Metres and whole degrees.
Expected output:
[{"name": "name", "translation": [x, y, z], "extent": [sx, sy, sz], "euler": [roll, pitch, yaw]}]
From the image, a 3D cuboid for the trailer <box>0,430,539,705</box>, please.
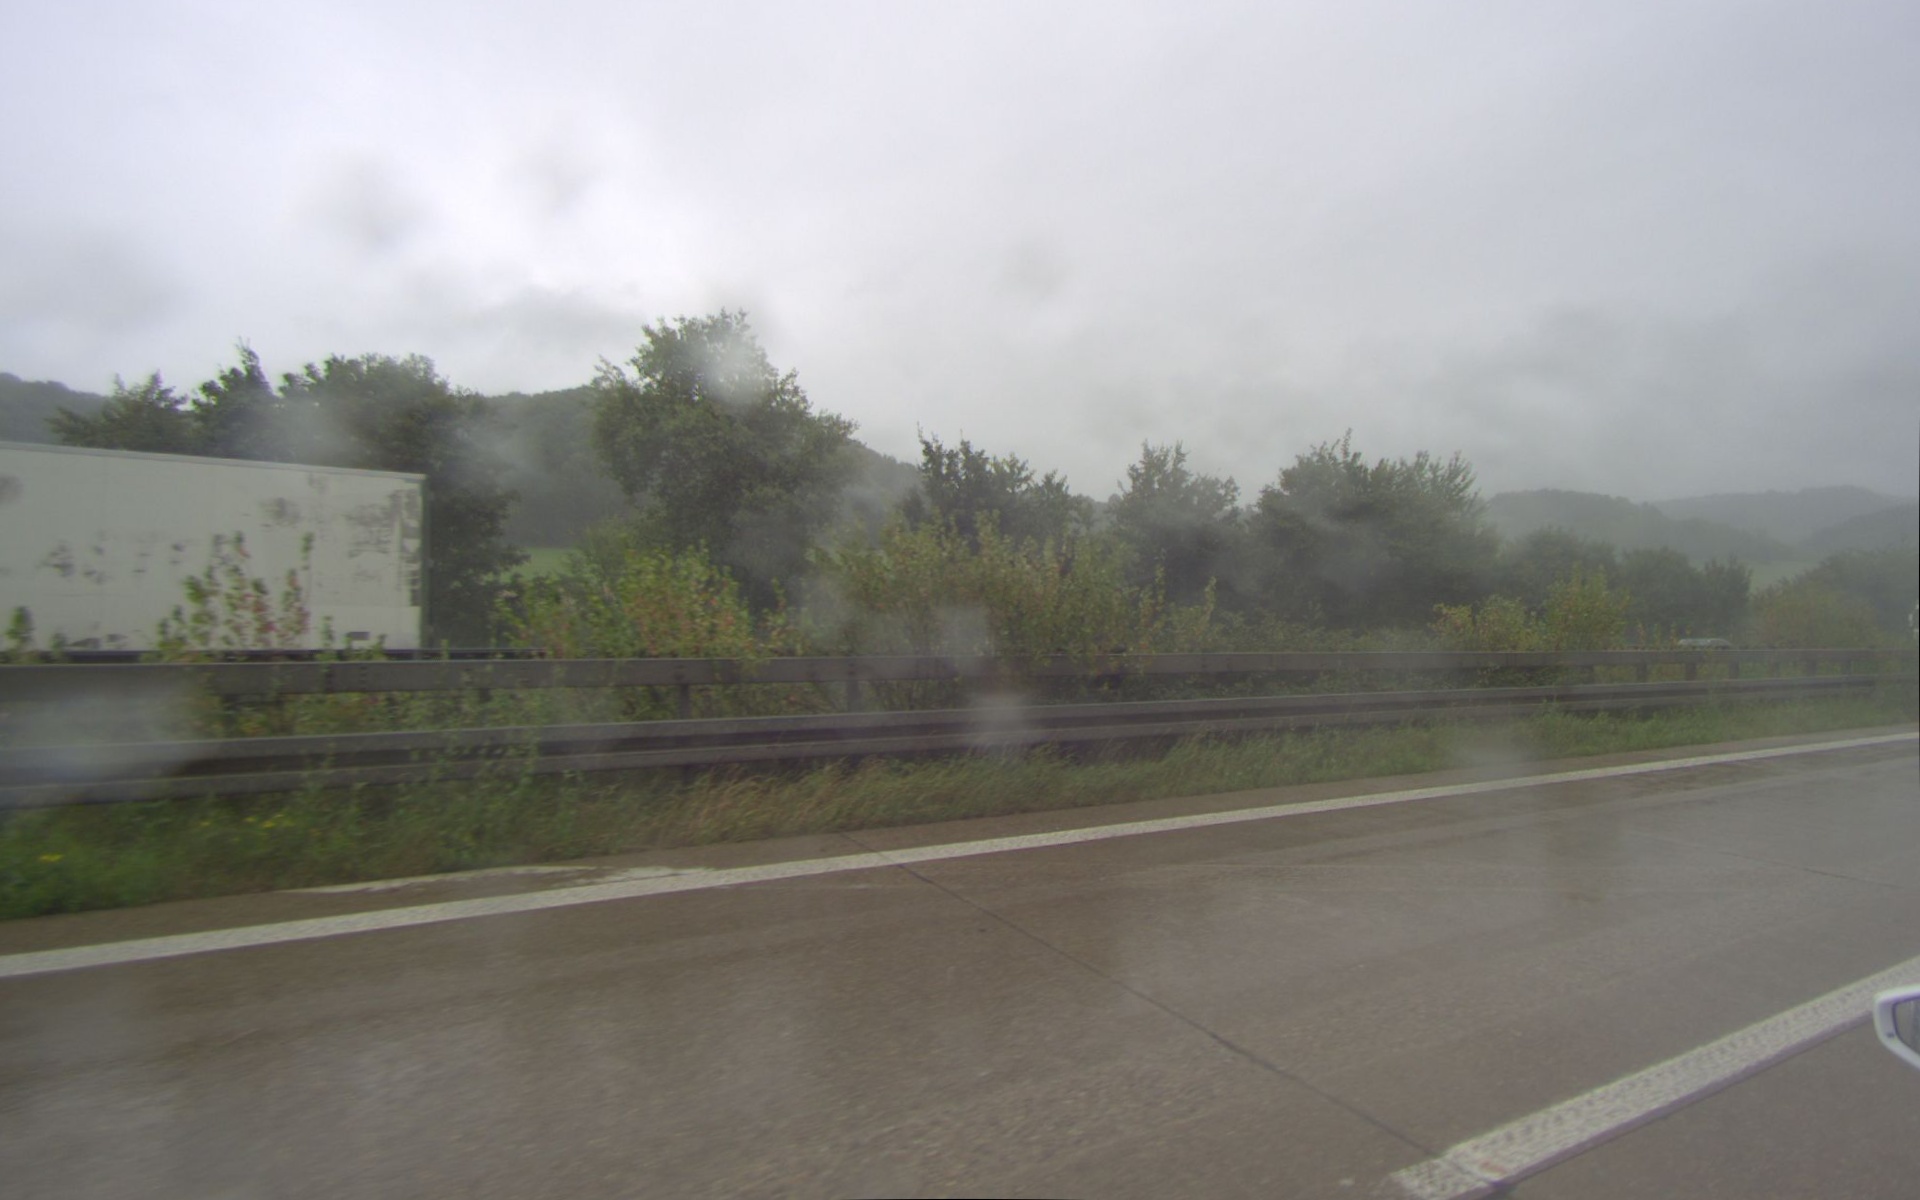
[{"name": "trailer", "translation": [-13.442, -0.444, 14.180], "extent": [13.551, 3.589, 2.837], "euler": [2, 0, -31]}]
